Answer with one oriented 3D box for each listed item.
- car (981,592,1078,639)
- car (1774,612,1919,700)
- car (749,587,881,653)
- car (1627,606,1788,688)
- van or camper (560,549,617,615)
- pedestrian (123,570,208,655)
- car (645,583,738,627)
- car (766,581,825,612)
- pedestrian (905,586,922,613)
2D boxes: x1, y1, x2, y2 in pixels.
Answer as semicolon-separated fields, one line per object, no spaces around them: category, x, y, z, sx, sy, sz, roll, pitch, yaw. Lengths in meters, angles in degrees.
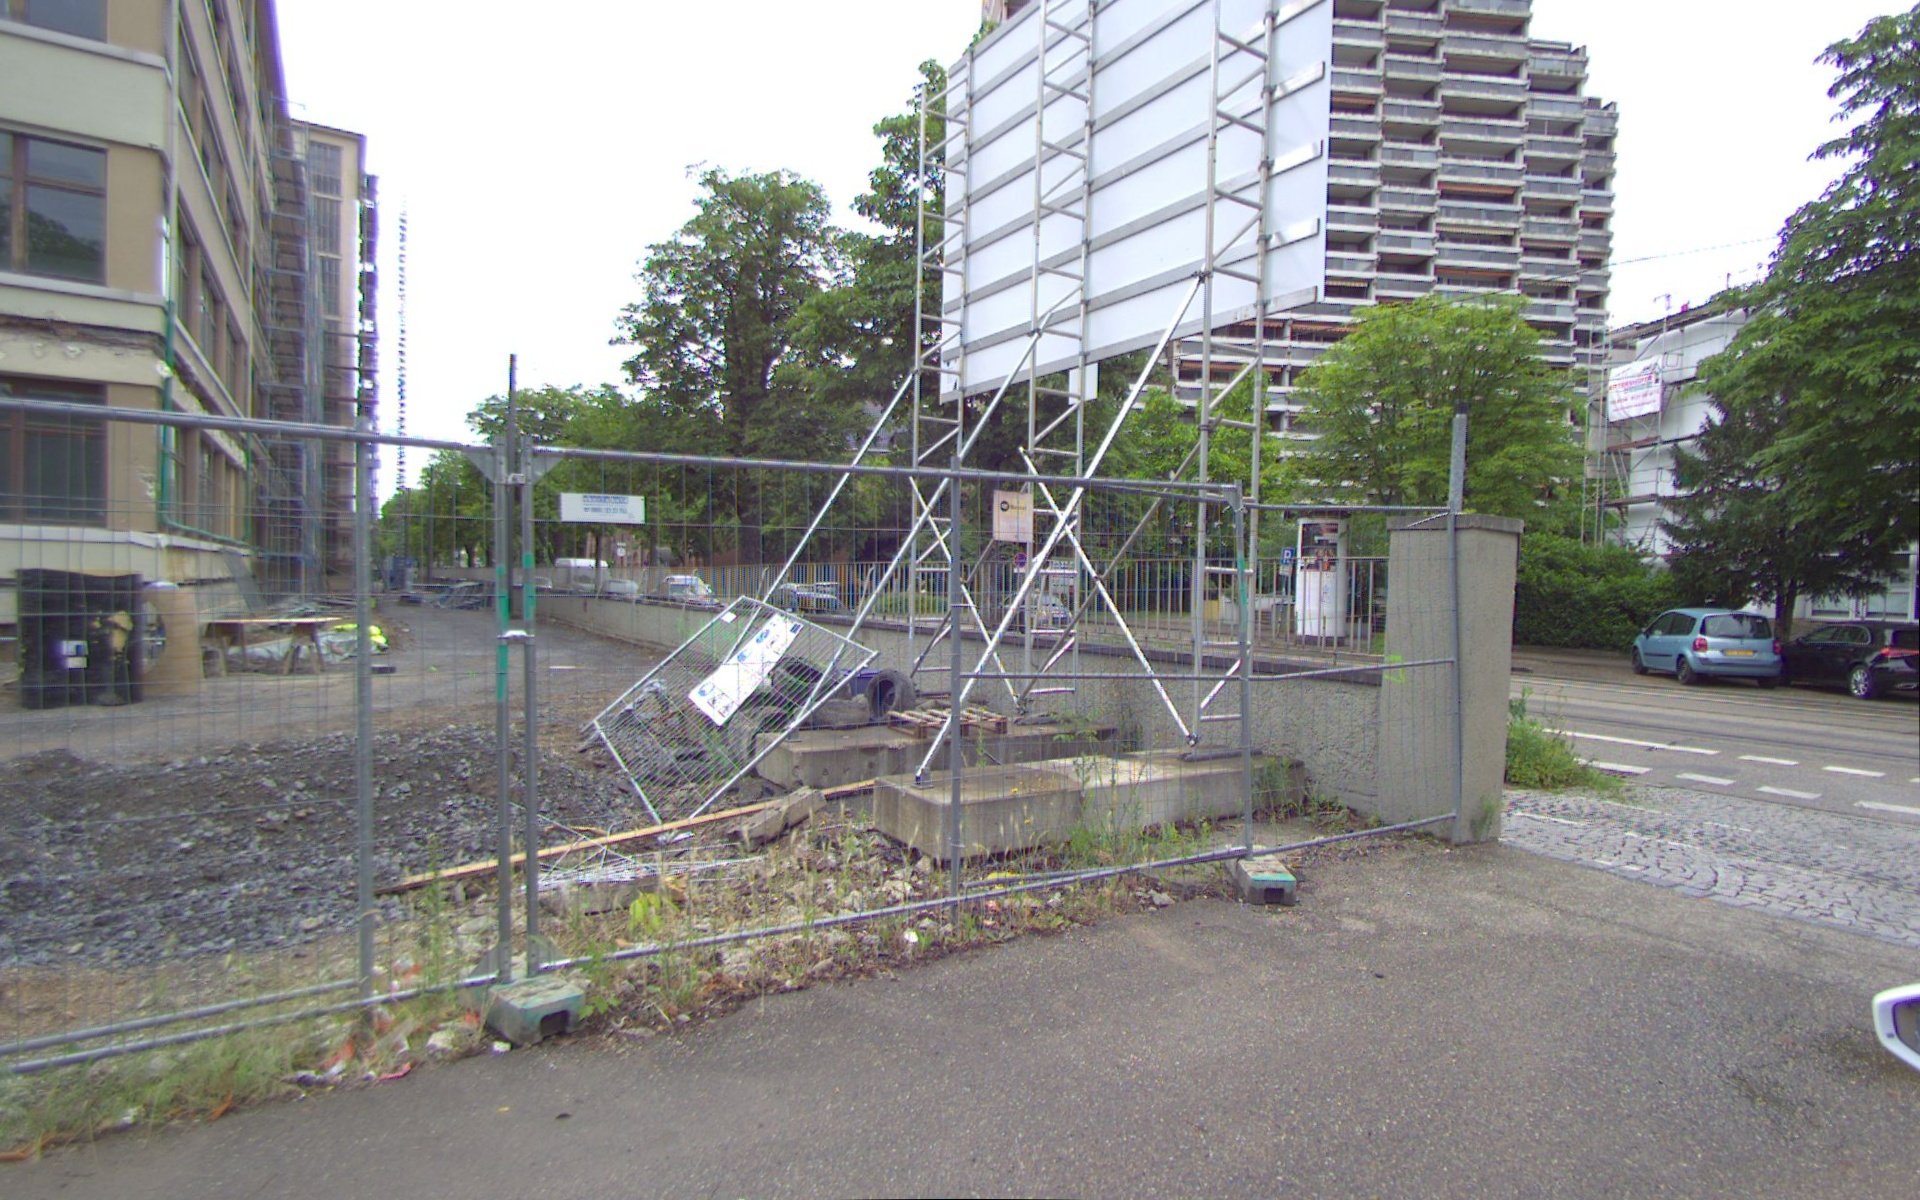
car;2.264;0.487;33.423;1.504;1.439;3.400;1;1;-32
car;17.546;1.027;19.333;1.586;1.531;3.339;2;0;14
car;-3.689;0.450;24.944;1.813;1.437;3.965;1;1;-32
car;16.088;0.954;21.807;1.586;1.557;3.338;2;0;14
van or camper;-16.630;-0.783;44.864;1.974;2.789;3.974;1;1;-26
pedestrian;-14.171;0.214;17.919;0.916;1.457;0.979;2;0;39
car;-9.140;0.153;33.983;1.978;1.328;3.965;1;1;-31
car;-8.726;-0.188;53.131;1.711;1.539;3.966;1;1;-31
pedestrian;-2.783;-0.028;60.111;0.838;1.548;0.515;1;1;-44
